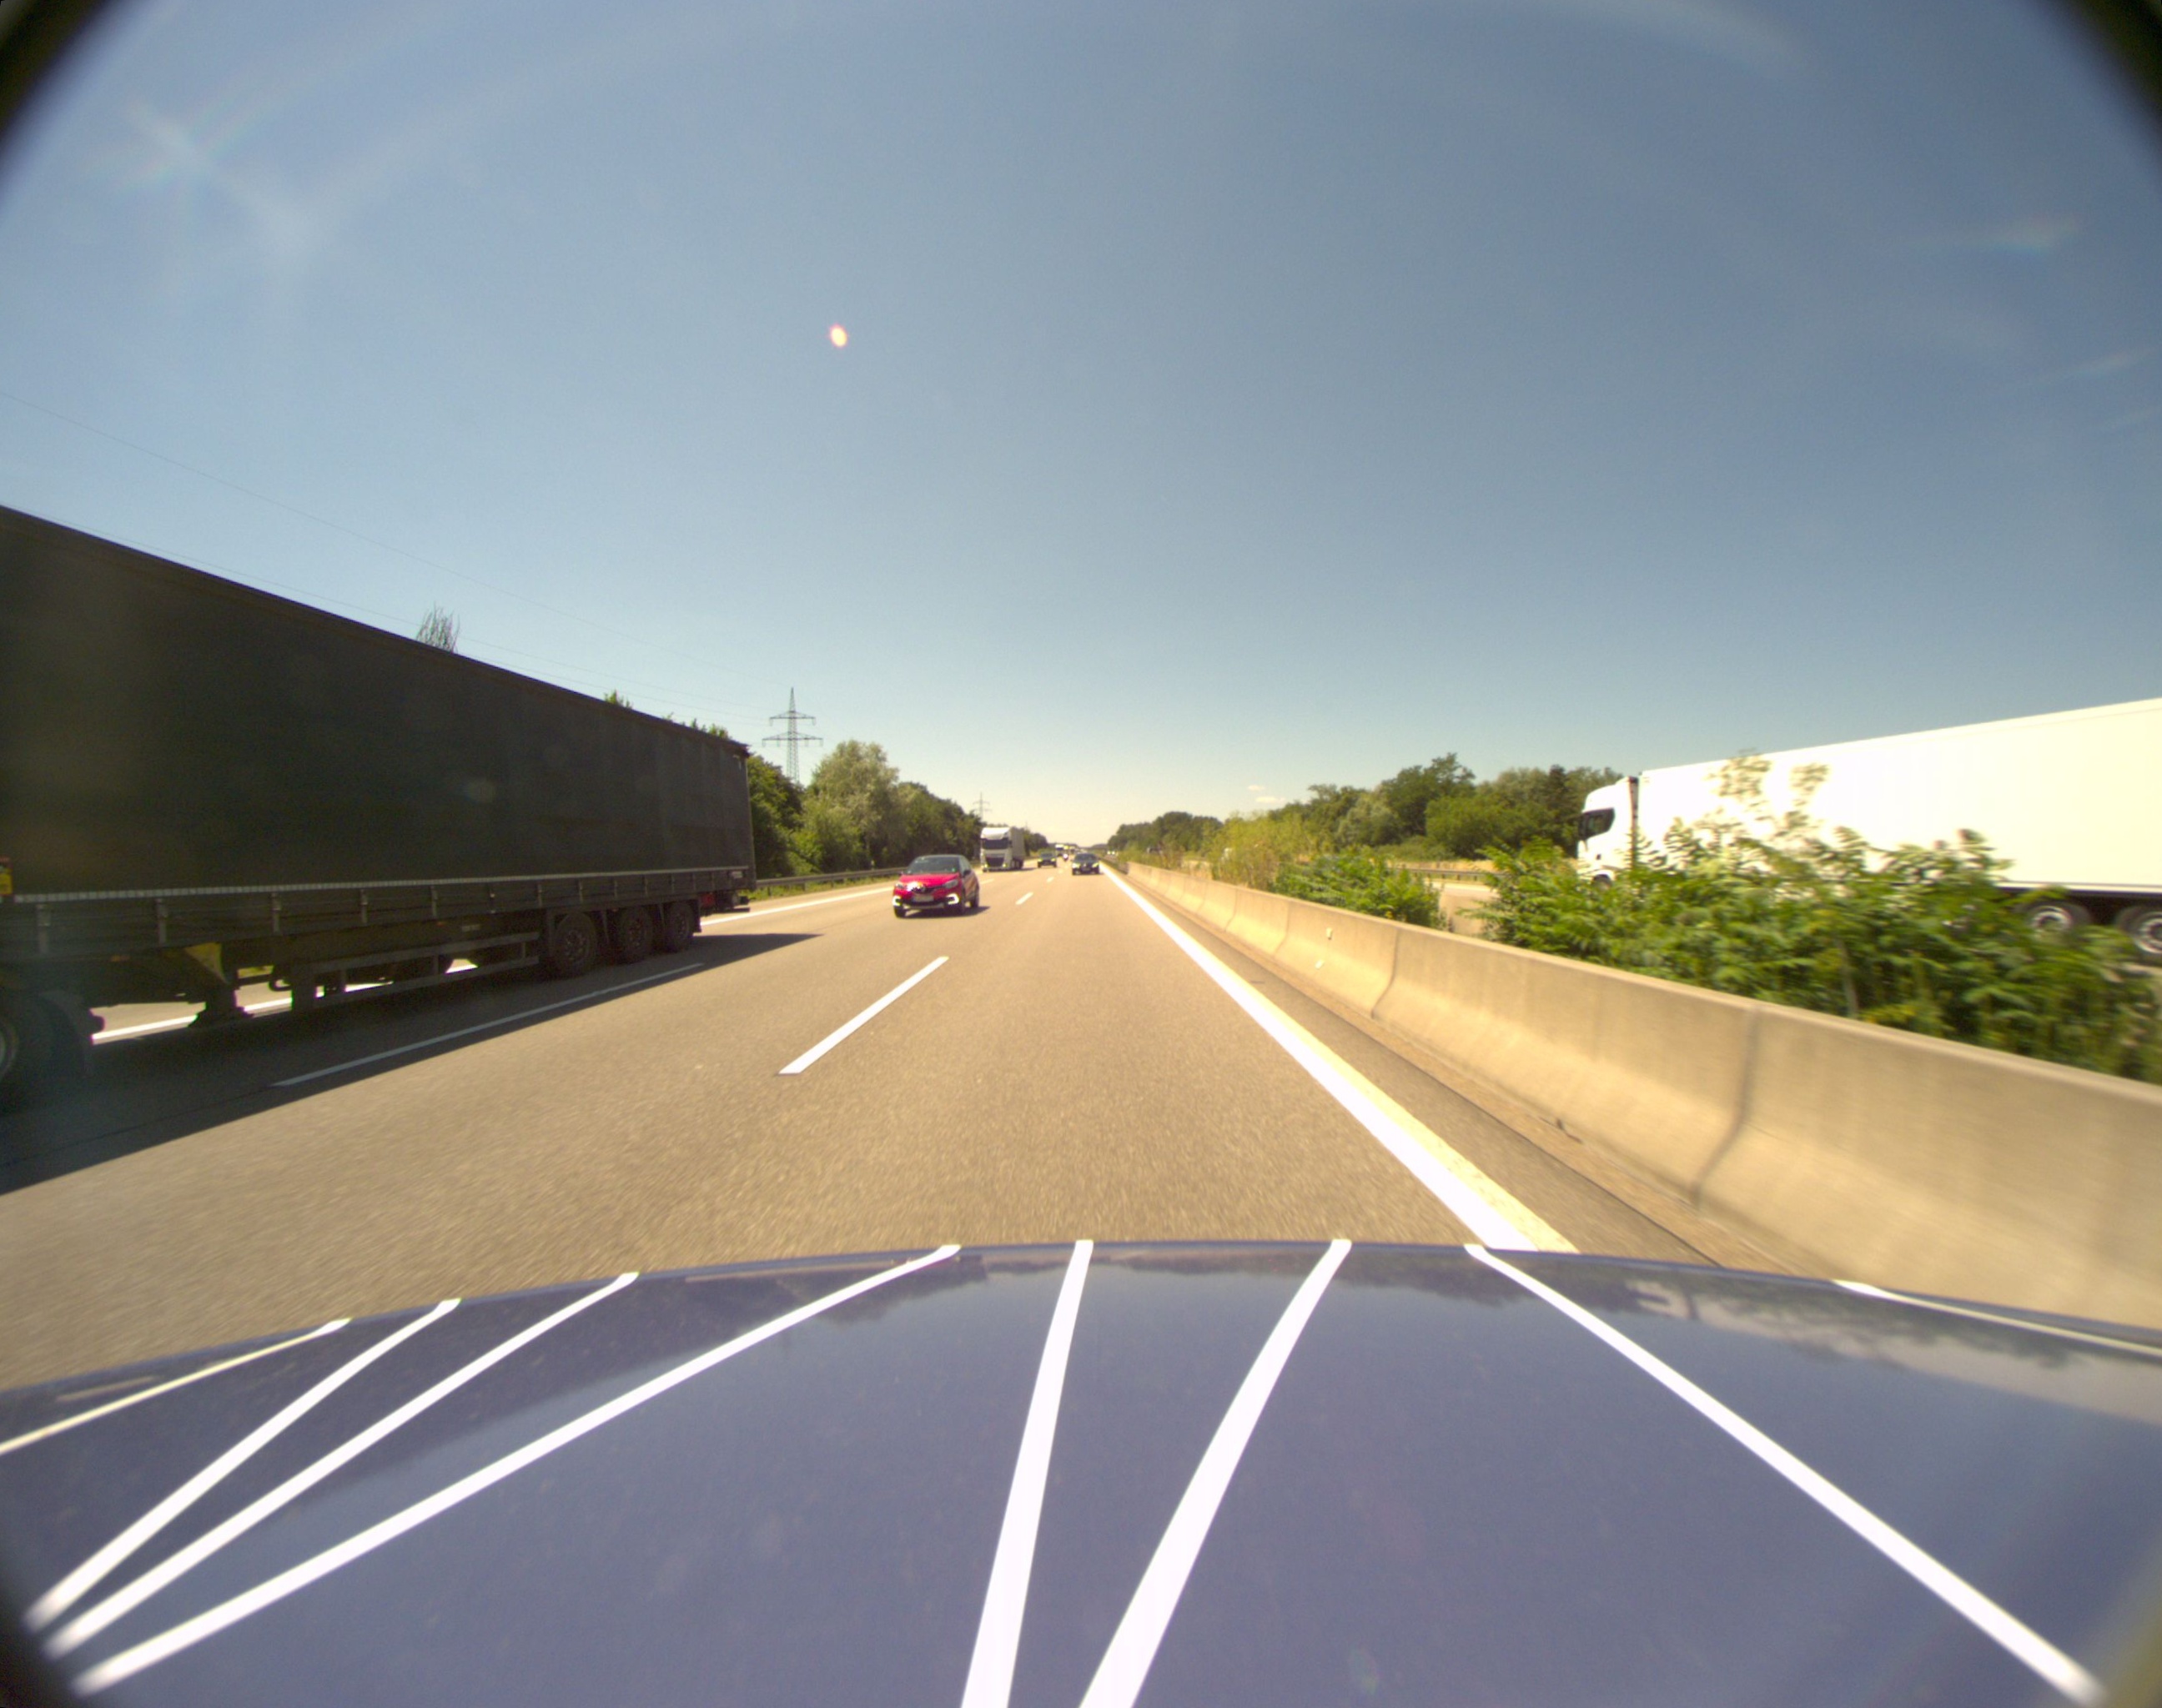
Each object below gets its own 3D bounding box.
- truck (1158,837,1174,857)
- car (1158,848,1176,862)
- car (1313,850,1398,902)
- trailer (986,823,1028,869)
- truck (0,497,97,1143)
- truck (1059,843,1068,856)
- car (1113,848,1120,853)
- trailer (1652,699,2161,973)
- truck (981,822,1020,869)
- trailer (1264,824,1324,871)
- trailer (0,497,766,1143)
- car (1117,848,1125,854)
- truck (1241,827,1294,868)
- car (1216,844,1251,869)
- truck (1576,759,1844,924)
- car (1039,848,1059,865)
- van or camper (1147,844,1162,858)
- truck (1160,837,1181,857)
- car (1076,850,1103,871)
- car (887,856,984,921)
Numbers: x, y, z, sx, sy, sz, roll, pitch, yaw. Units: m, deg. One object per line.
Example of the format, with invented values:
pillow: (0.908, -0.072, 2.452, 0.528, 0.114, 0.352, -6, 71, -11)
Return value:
truck: (18.322, -1.489, 163.448, 2.768, 3.991, 5.750, 1, 1, 0)
car: (10.058, 0.059, 89.153, 1.771, 1.570, 3.818, 0, 1, 0)
car: (9.346, 0.699, 26.161, 1.596, 1.610, 3.674, -1, 1, 1)
trailer: (-7.274, -0.787, 76.542, 2.743, 4.083, 13.121, -2, 0, 0)
truck: (-8.359, -0.178, 2.412, 2.802, 4.140, 5.722, -1, 1, 1)
truck: (-5.595, -1.466, 237.988, 2.573, 3.871, 5.722, -2, 1, 0)
car: (11.422, -1.149, 244.741, 1.813, 1.638, 3.961, 0, 0, 0)
trailer: (17.105, -0.277, 14.429, 2.701, 3.991, 12.966, 0, 0, 0)
truck: (-7.335, -0.750, 69.788, 2.743, 4.096, 6.124, -2, 1, 0)
trailer: (17.746, -0.524, 63.966, 2.659, 3.640, 8.535, 1, 1, 1)
trailer: (-8.262, -0.232, 9.422, 2.796, 4.140, 13.573, -1, 0, 1)
car: (10.862, -0.773, 206.739, 1.808, 1.559, 4.095, 1, 0, 0)
truck: (17.828, -0.594, 73.341, 2.659, 3.640, 10.187, 1, 0, 1)
car: (12.756, 0.189, 63.883, 1.887, 1.976, 4.738, 2, 0, 0)
truck: (17.113, -0.322, 21.294, 2.687, 3.991, 5.755, 0, 1, 0)
car: (-3.316, 0.250, 79.791, 1.878, 1.614, 4.003, -2, 0, 0)
van or camper: (13.982, -0.683, 144.996, 2.176, 2.573, 5.872, 1, 1, 0)
truck: (18.336, -1.441, 156.188, 2.768, 3.991, 13.521, 1, 0, 0)
car: (0.586, 0.469, 55.395, 1.808, 1.385, 3.999, -2, 1, 0)
car: (-3.860, 0.858, 20.808, 1.808, 1.536, 4.000, -2, 1, 1)
